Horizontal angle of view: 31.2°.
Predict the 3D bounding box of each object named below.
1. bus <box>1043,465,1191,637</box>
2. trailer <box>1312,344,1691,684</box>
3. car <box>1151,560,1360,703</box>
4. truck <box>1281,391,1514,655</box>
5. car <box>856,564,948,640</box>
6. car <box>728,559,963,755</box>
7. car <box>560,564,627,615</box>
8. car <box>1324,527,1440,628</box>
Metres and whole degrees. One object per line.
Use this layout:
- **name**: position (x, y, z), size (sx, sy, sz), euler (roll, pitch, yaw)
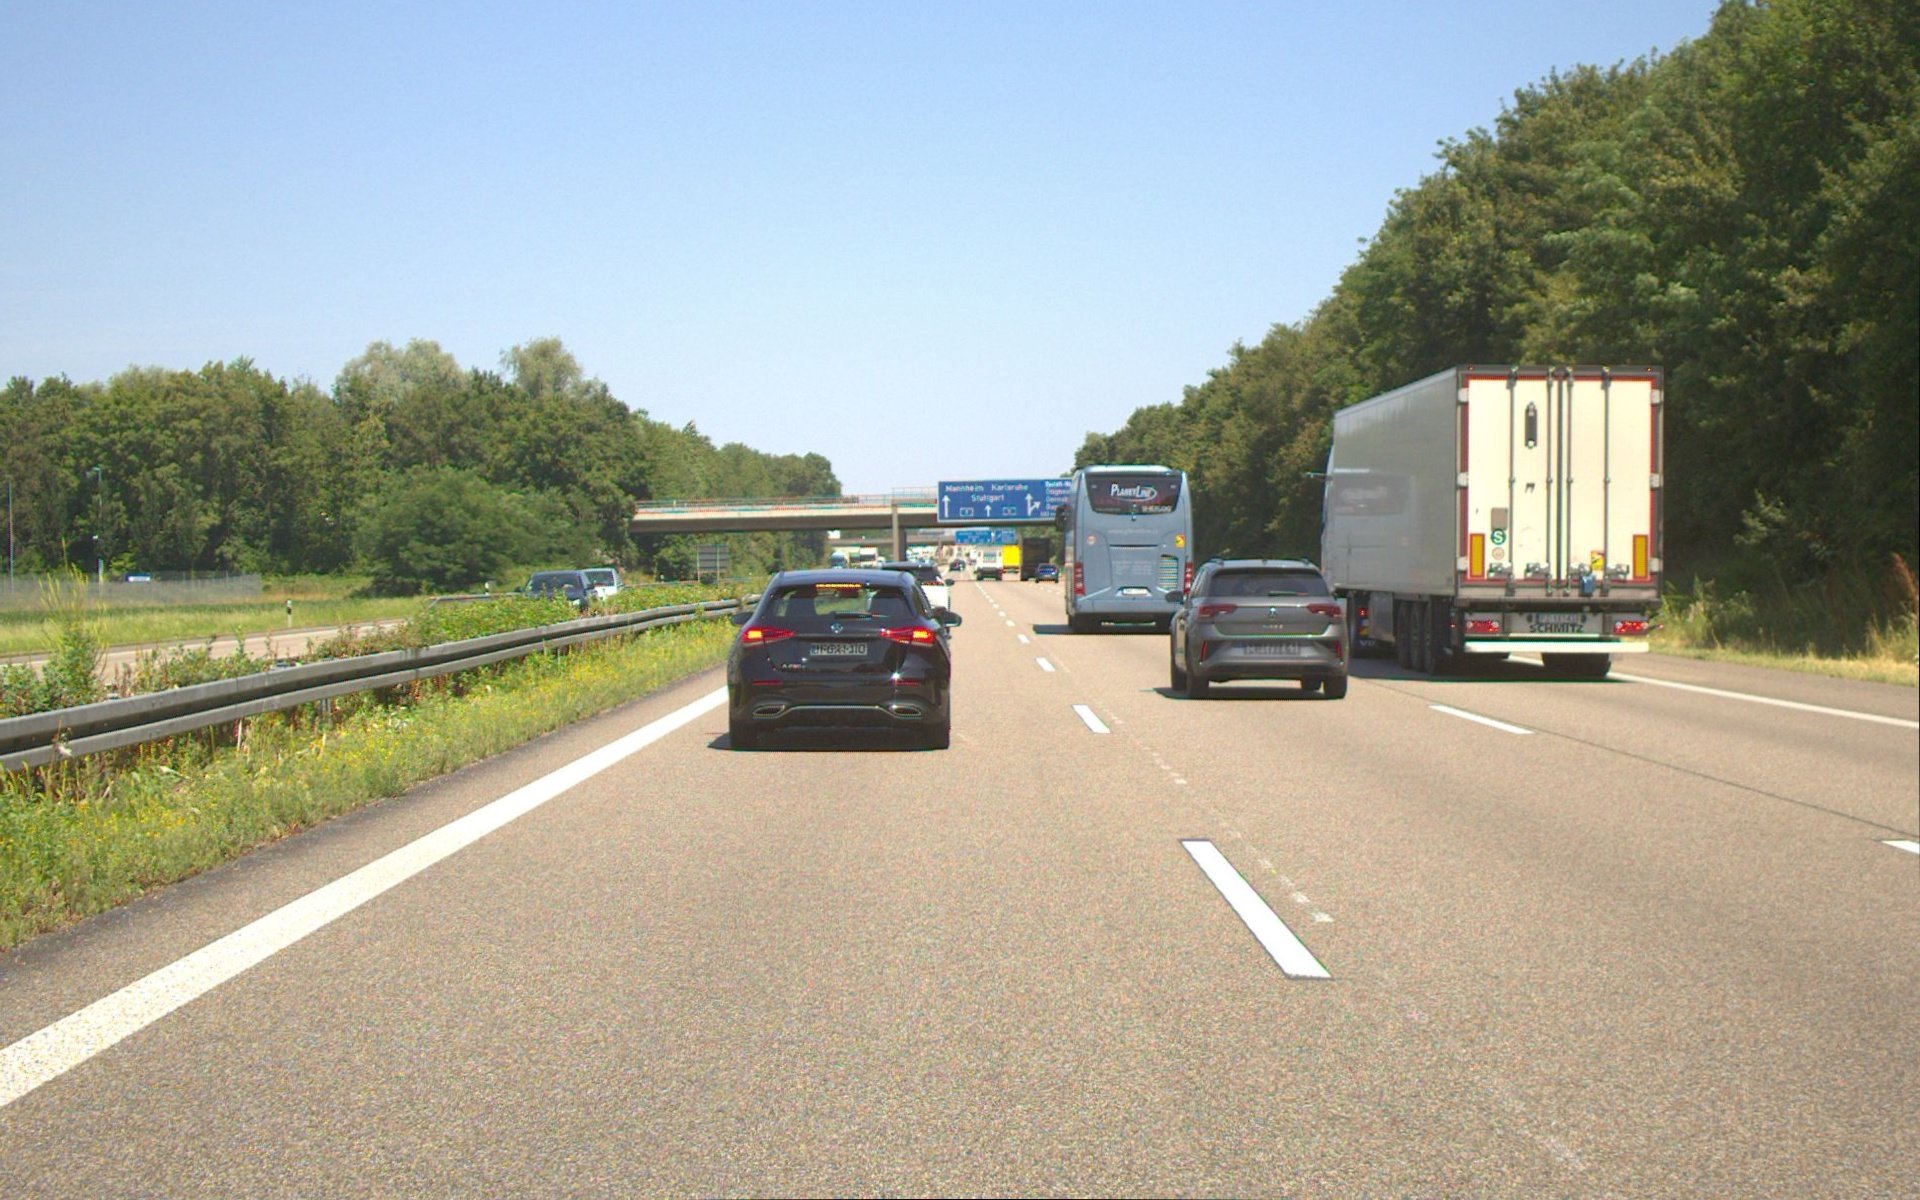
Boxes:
- **bus**: position (3.433, -1.075, 78.050), size (2.802, 3.584, 12.474), euler (0, 1, 0)
- **trailer**: position (7.441, -1.156, 49.685), size (3.039, 4.210, 13.836), euler (0, 1, -1)
- **car**: position (3.328, 0.317, 39.558), size (1.899, 1.527, 4.760), euler (0, 1, -1)
- **truck**: position (7.289, -1.271, 58.082), size (3.047, 4.200, 6.049), euler (0, 1, -1)
- **car**: position (-1.235, 0.019, 73.012), size (1.899, 1.527, 4.242), euler (0, 1, -1)
- **car**: position (-0.919, 0.414, 28.597), size (1.799, 1.497, 4.242), euler (0, 1, -1)
- **car**: position (-11.978, -0.349, 112.548), size (1.656, 1.577, 4.335), euler (-2, 1, 0)
- **car**: position (9.078, -0.493, 74.200), size (1.899, 2.113, 4.242), euler (0, 1, -1)
